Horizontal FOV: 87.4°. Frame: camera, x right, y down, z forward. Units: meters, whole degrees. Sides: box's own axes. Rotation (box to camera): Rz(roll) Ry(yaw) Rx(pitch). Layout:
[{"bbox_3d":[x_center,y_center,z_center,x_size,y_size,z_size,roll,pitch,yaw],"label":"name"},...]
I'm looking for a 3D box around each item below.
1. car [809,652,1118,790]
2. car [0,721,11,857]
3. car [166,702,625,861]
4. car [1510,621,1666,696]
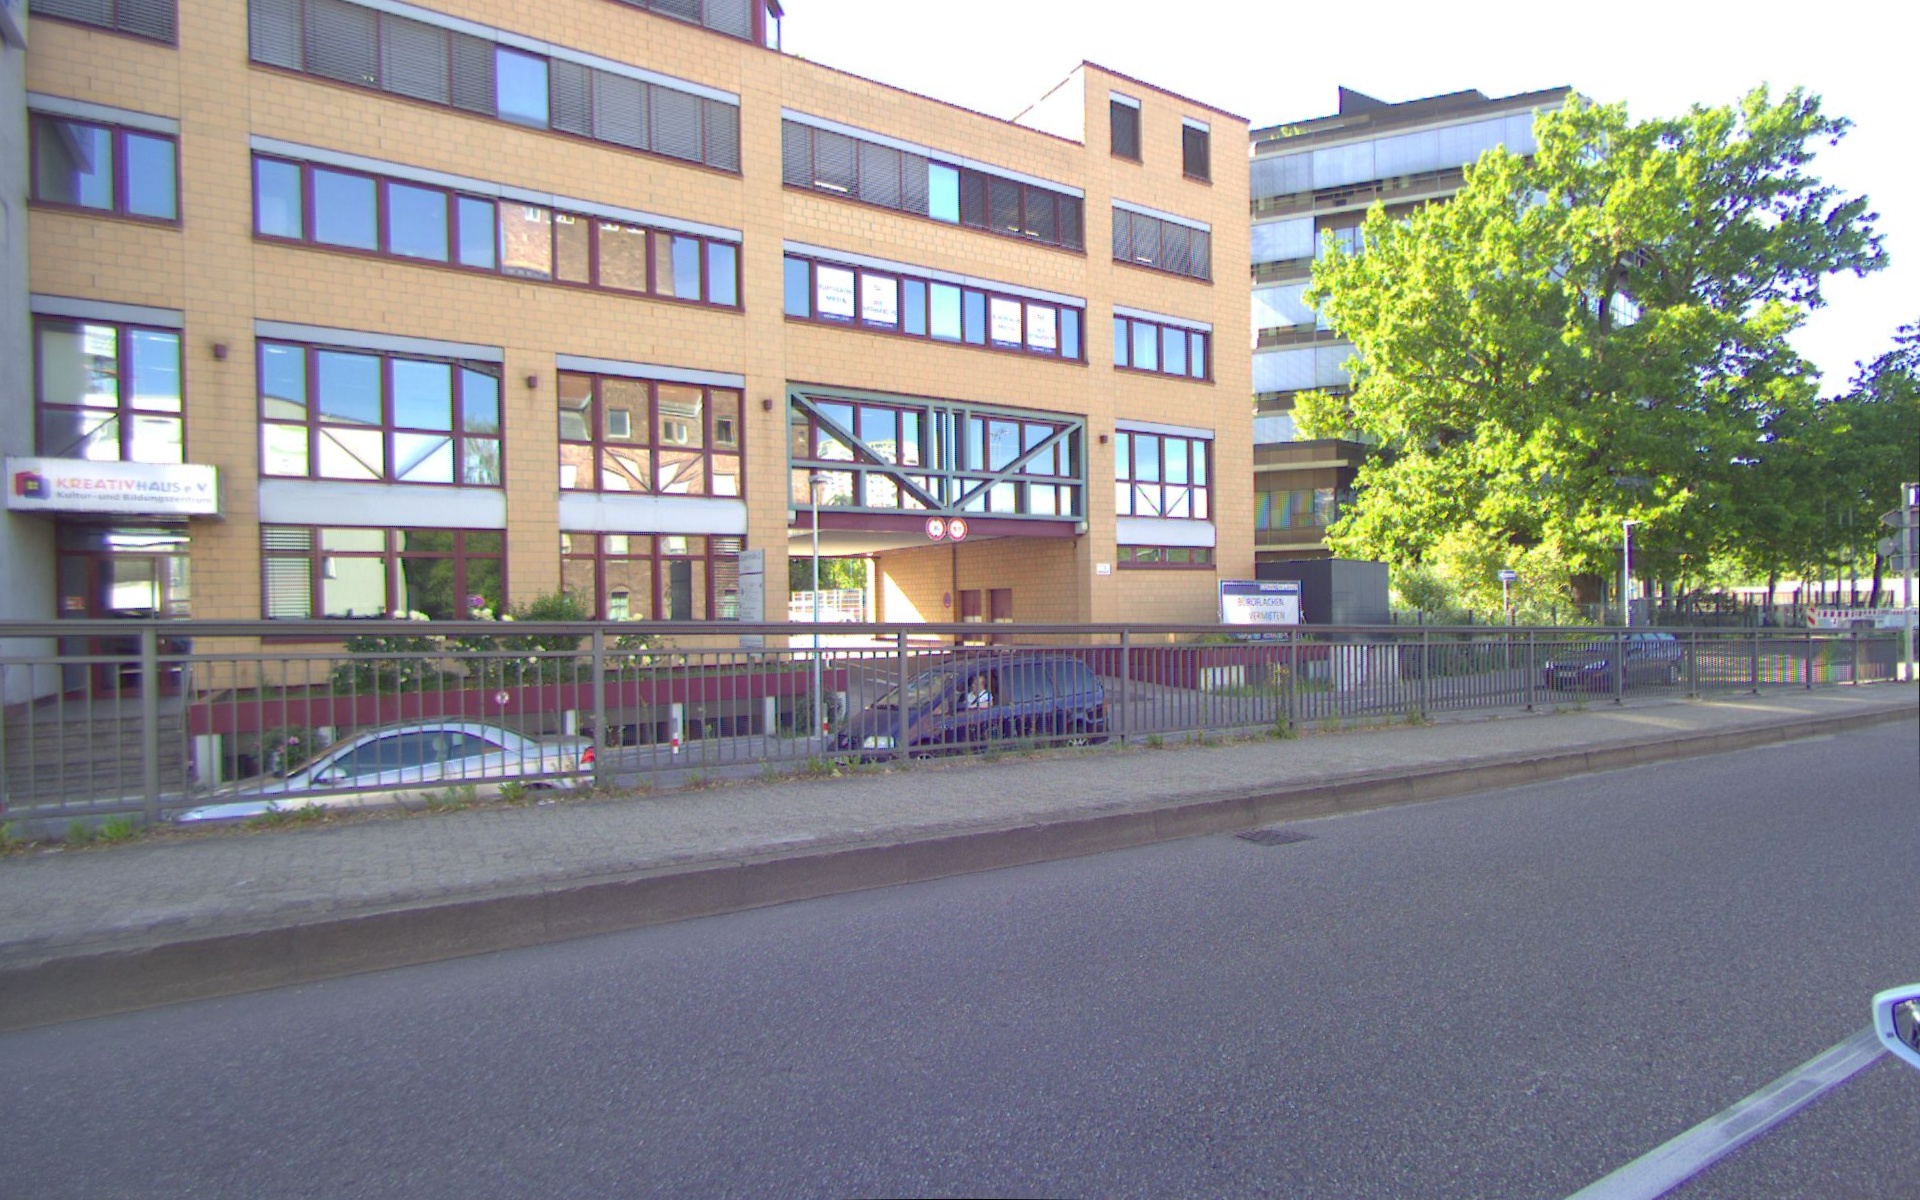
[{"bbox_3d":[0.144,1.697,15.216,4.541,1.669,1.710,0,-2,-35],"label":"car"},{"bbox_3d":[-10.613,1.816,8.298,3.766,1.286,1.567,0,-2,-32],"label":"car"},{"bbox_3d":[-6.126,1.899,11.307,4.210,1.181,1.713,0,-2,-32],"label":"car"},{"bbox_3d":[16.445,1.465,26.272,3.953,1.715,1.843,-1,0,-30],"label":"car"}]
